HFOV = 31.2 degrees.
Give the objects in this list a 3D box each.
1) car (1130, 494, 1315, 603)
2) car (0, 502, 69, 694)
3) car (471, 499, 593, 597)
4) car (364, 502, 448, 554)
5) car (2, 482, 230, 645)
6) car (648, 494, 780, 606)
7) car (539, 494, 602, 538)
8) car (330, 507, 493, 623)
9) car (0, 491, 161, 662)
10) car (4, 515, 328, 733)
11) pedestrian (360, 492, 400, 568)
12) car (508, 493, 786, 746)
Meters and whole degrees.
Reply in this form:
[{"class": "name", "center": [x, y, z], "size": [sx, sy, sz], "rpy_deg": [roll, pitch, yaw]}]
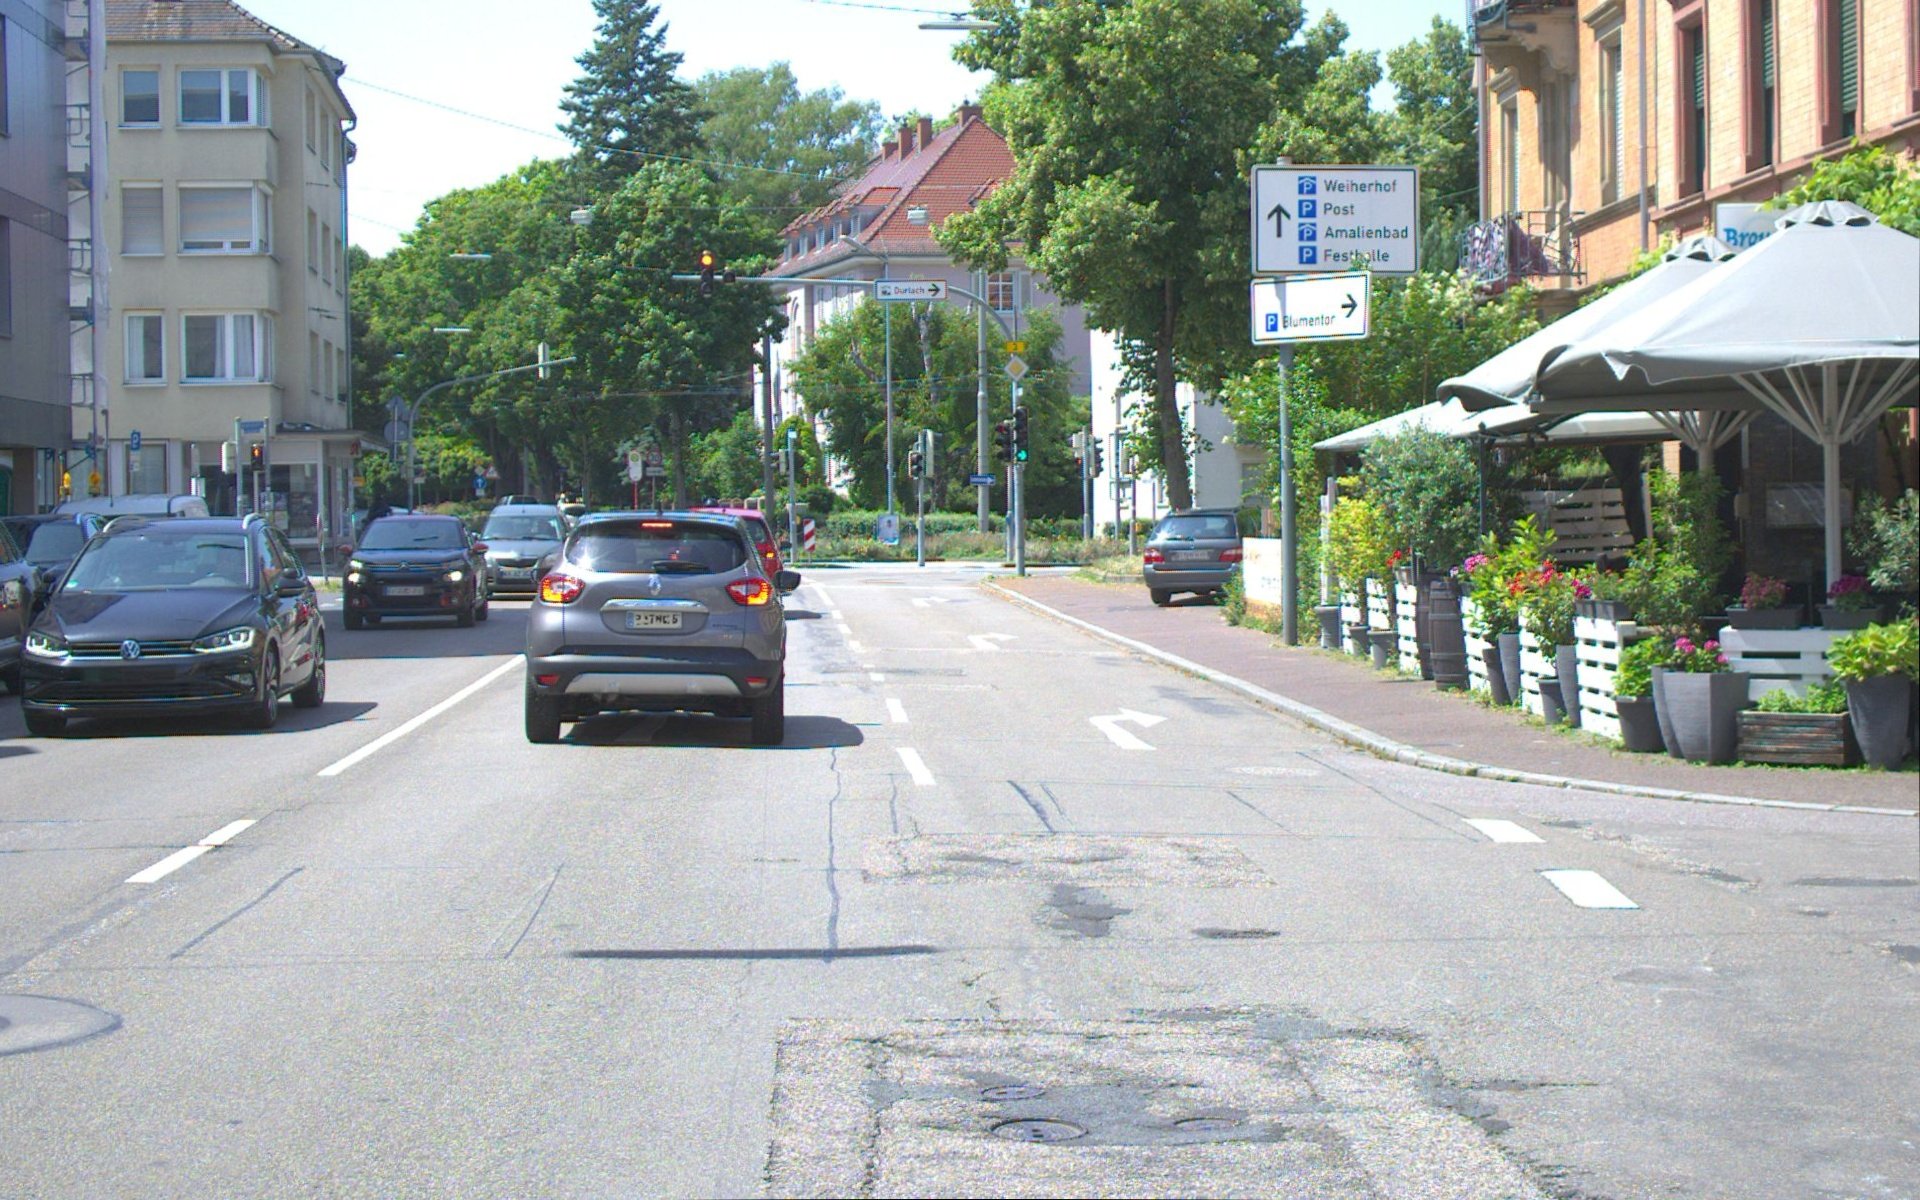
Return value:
[{"class": "car", "center": [4.231, -0.852, 54.634], "size": [1.836, 1.543, 5.153], "rpy_deg": [0, 3, 17]}, {"class": "car", "center": [-9.122, -0.002, 29.451], "size": [1.884, 1.635, 4.818], "rpy_deg": [-1, 1, -3]}, {"class": "car", "center": [-7.214, -0.909, 58.221], "size": [1.701, 1.569, 4.313], "rpy_deg": [-1, 2, -3]}, {"class": "car", "center": [-16.849, -2.173, 104.368], "size": [1.993, 1.514, 4.001], "rpy_deg": [1, 1, -17]}, {"class": "car", "center": [-10.195, -0.476, 41.856], "size": [1.913, 1.819, 4.789], "rpy_deg": [-1, 1, -5]}, {"class": "car", "center": [-3.578, -0.758, 50.579], "size": [1.798, 1.552, 4.038], "rpy_deg": [1, 1, -3]}, {"class": "car", "center": [-16.429, -3.545, 144.816], "size": [1.993, 1.801, 4.002], "rpy_deg": [0, 2, -16]}, {"class": "car", "center": [-7.350, -0.511, 46.394], "size": [1.701, 1.473, 4.134], "rpy_deg": [-1, 2, -3]}, {"class": "car", "center": [-9.601, -0.261, 35.586], "size": [1.884, 1.635, 4.664], "rpy_deg": [-1, 1, -5]}, {"class": "car", "center": [-5.952, 0.114, 26.214], "size": [1.760, 1.489, 4.246], "rpy_deg": [-1, 2, -4]}, {"class": "pedestrian", "center": [-14.957, -1.806, 88.641], "size": [0.935, 1.925, 0.977], "rpy_deg": [0, 1, -15]}, {"class": "car", "center": [-2.144, 0.071, 24.439], "size": [1.753, 1.626, 4.001], "rpy_deg": [1, 2, -2]}]
